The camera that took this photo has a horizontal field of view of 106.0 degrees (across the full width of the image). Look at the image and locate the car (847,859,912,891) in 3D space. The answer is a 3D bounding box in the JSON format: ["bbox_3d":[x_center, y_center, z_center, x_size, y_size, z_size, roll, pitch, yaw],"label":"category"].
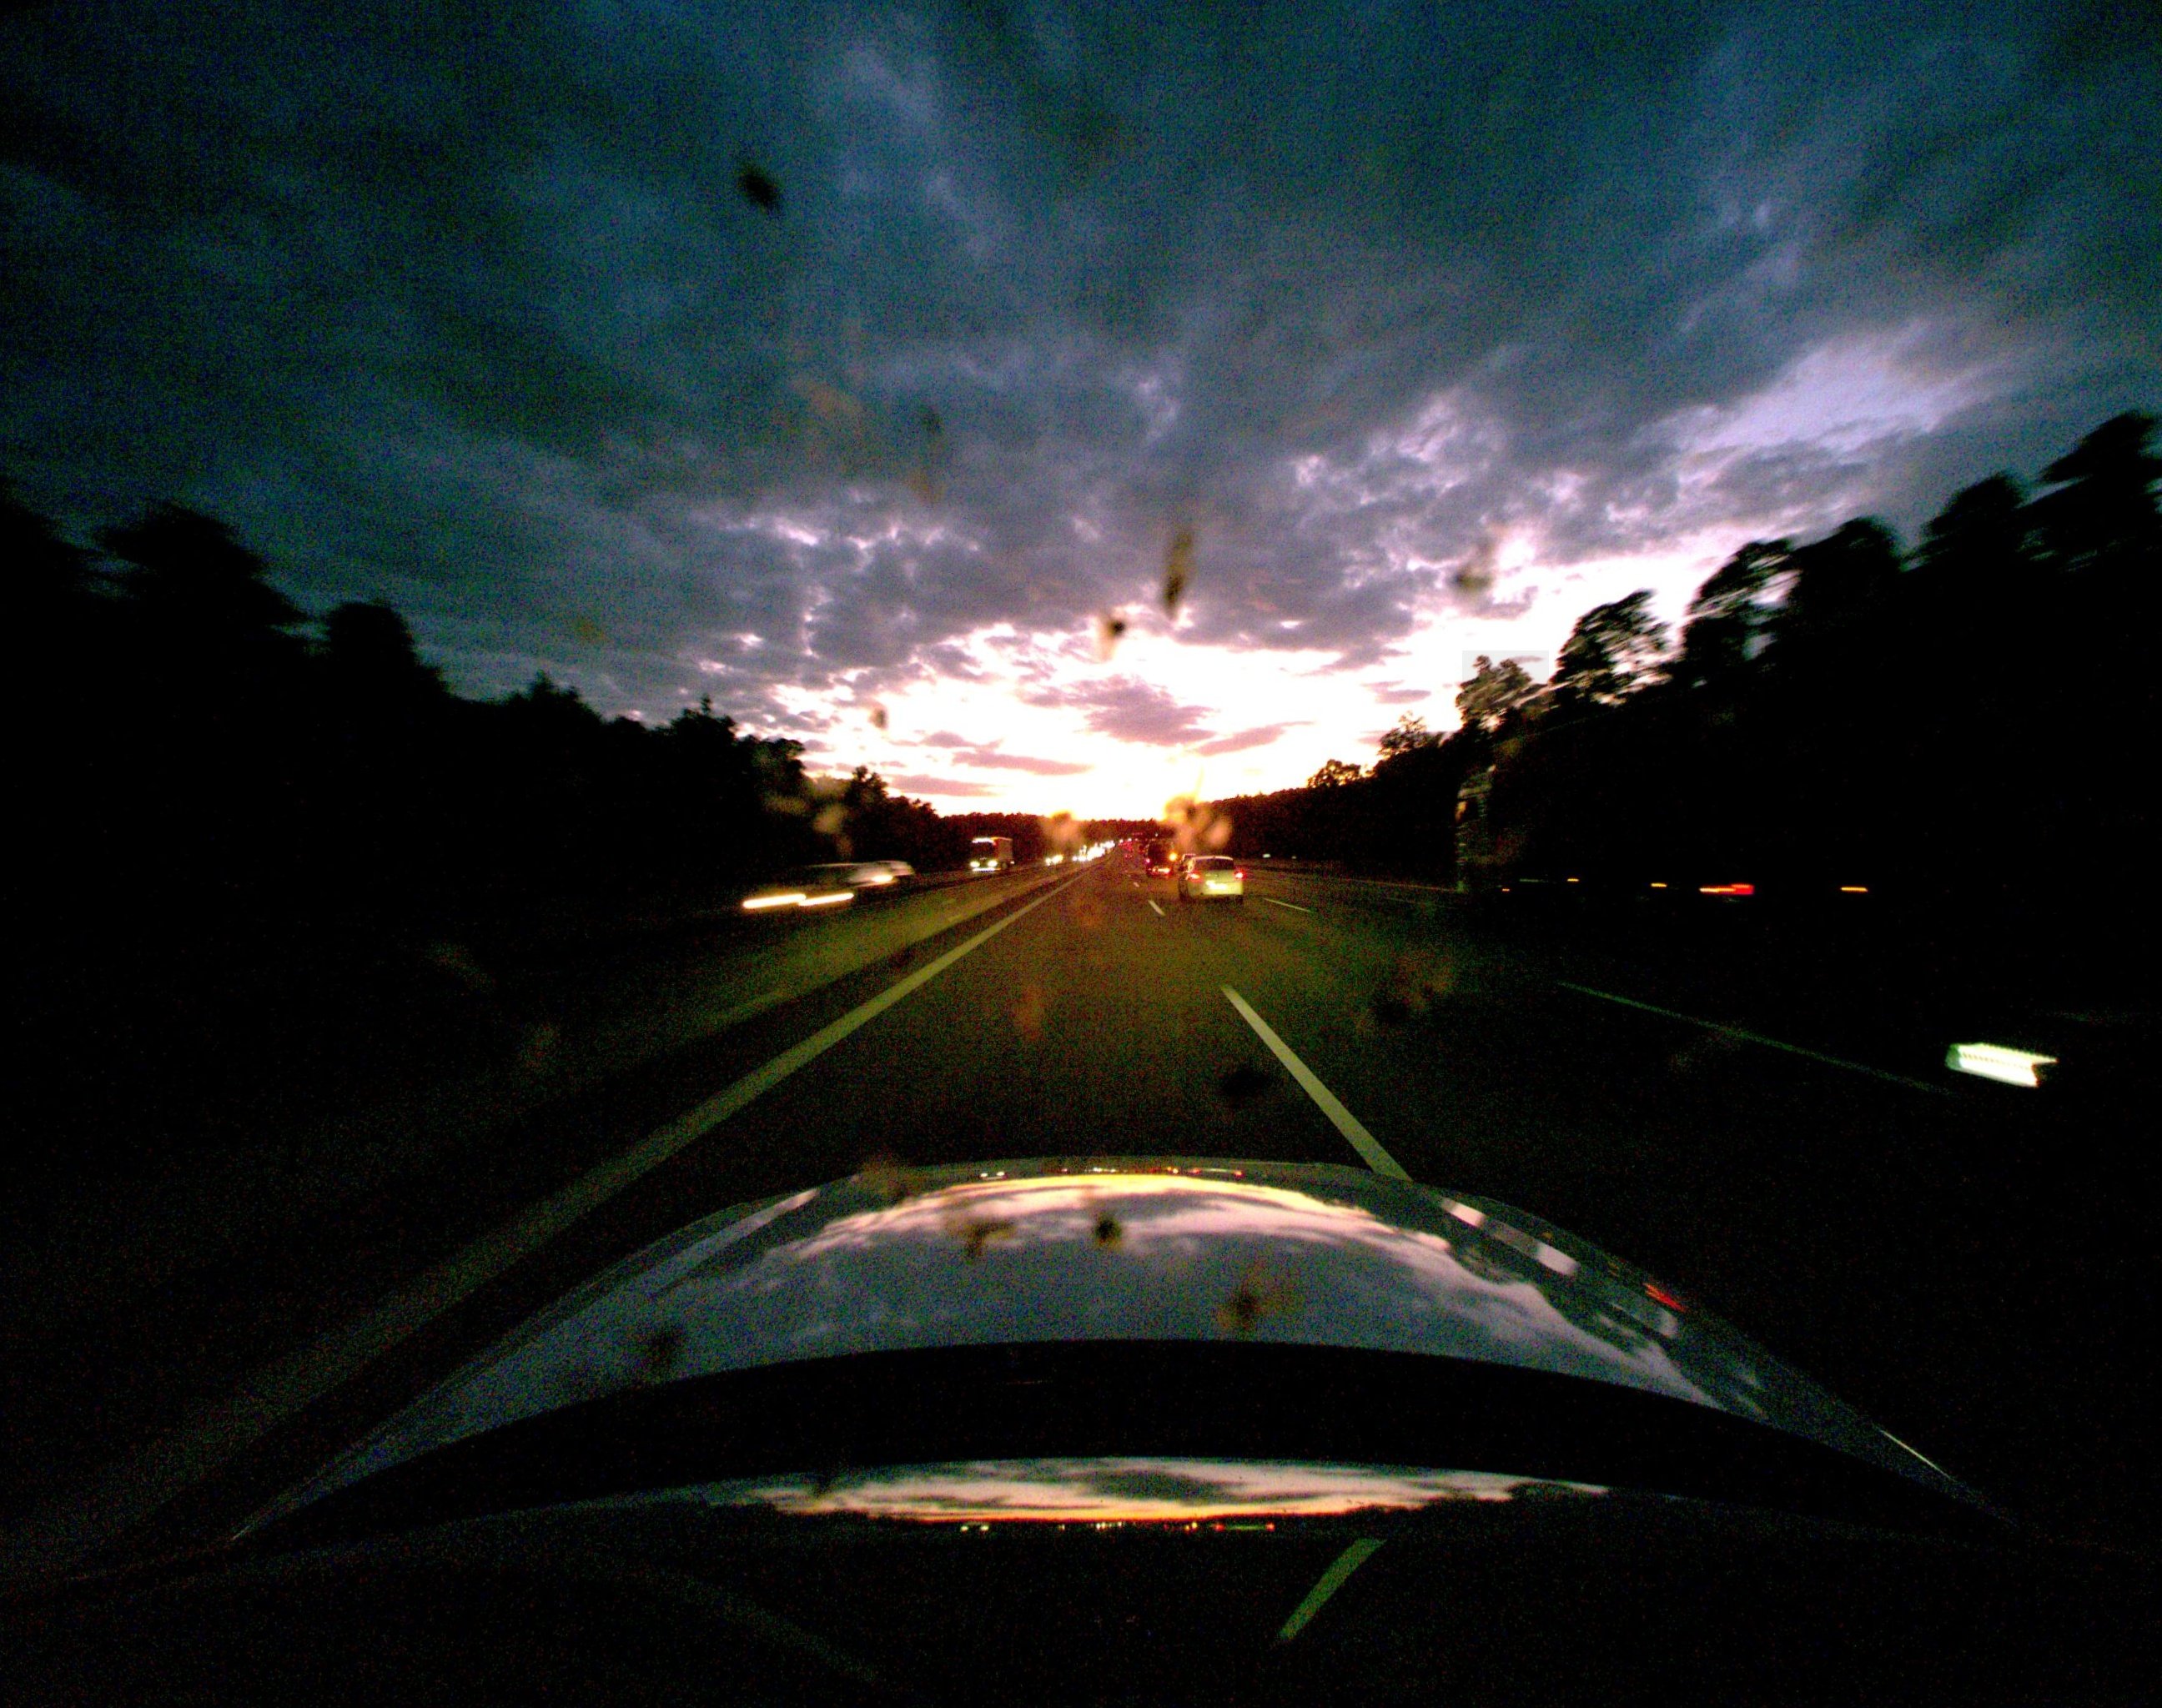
[{"bbox_3d":[-9.797,0.985,39.971,1.769,1.401,4.941,-1,0,2],"label":"car"}]

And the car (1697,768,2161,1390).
[{"bbox_3d":[3.796,0.591,1.308,1.896,1.644,5.052,1,-2,1],"label":"car"}]

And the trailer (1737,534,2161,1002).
[{"bbox_3d":[10.913,-0.776,6.756,2.895,4.100,10.364,-1,0,3],"label":"trailer"}]

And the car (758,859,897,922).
[{"bbox_3d":[-6.388,0.869,21.125,1.986,1.401,4.689,-1,0,2],"label":"car"}]

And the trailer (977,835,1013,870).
[{"bbox_3d":[-10.723,-0.181,102.635,2.640,4.131,14.330,-1,0,1],"label":"trailer"}]

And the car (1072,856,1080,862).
[{"bbox_3d":[-1.269,1.319,220.346,1.841,1.414,4.793,-1,0,2],"label":"car"}]

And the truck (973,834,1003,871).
[{"bbox_3d":[-10.875,-0.193,95.754,2.640,4.131,6.526,-1,0,1],"label":"truck"}]

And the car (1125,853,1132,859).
[{"bbox_3d":[13.487,0.481,229.268,1.828,1.570,4.005,-1,0,5],"label":"car"}]

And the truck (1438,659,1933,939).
[{"bbox_3d":[11.347,-0.811,17.524,2.874,4.100,10.837,-1,0,2],"label":"truck"}]

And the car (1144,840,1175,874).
[{"bbox_3d":[5.878,0.227,61.038,2.155,2.419,5.571,-1,0,5],"label":"car"}]

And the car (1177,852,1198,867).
[{"bbox_3d":[11.008,0.557,84.480,1.998,1.538,4.005,-1,0,5],"label":"car"}]

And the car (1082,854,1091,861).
[{"bbox_3d":[1.266,0.828,196.541,1.985,1.424,5.149,-1,0,3],"label":"car"}]

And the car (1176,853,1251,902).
[{"bbox_3d":[4.181,0.732,26.140,1.852,1.442,3.721,-1,-1,1],"label":"car"}]

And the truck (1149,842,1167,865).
[{"bbox_3d":[20.613,-0.061,218.445,4.132,5.856,14.308,-1,0,3],"label":"truck"}]

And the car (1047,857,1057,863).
[{"bbox_3d":[-6.380,1.333,181.346,1.905,1.425,4.747,-1,0,1],"label":"car"}]
